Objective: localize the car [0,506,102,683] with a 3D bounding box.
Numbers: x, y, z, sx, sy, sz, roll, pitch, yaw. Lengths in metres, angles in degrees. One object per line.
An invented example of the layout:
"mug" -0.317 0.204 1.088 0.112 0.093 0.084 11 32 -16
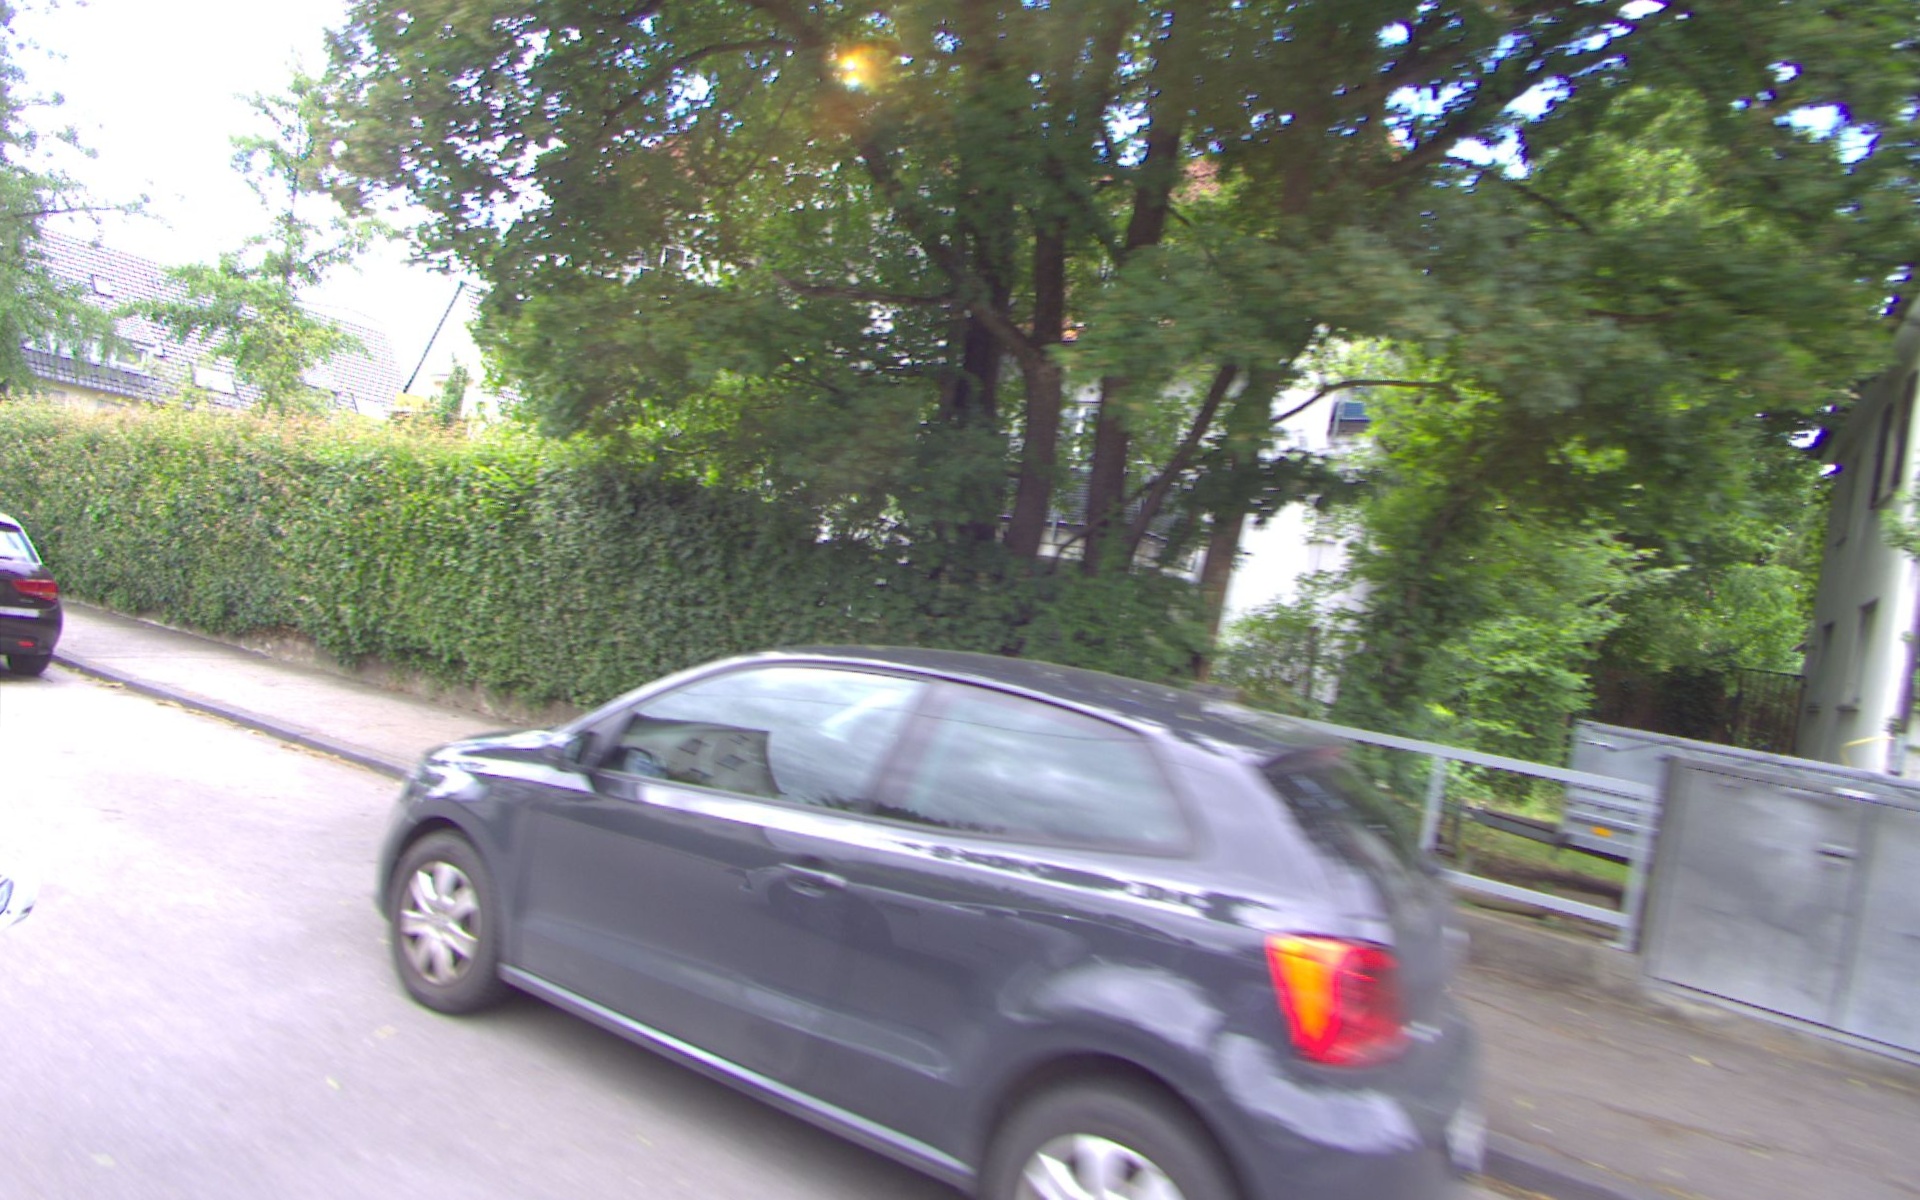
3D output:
"car" -9.679 -0.285 9.053 3.726 1.428 1.715 7 -3 30

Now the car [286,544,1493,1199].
"car" -0.358 0.825 3.498 3.726 1.504 1.714 7 -2 30
